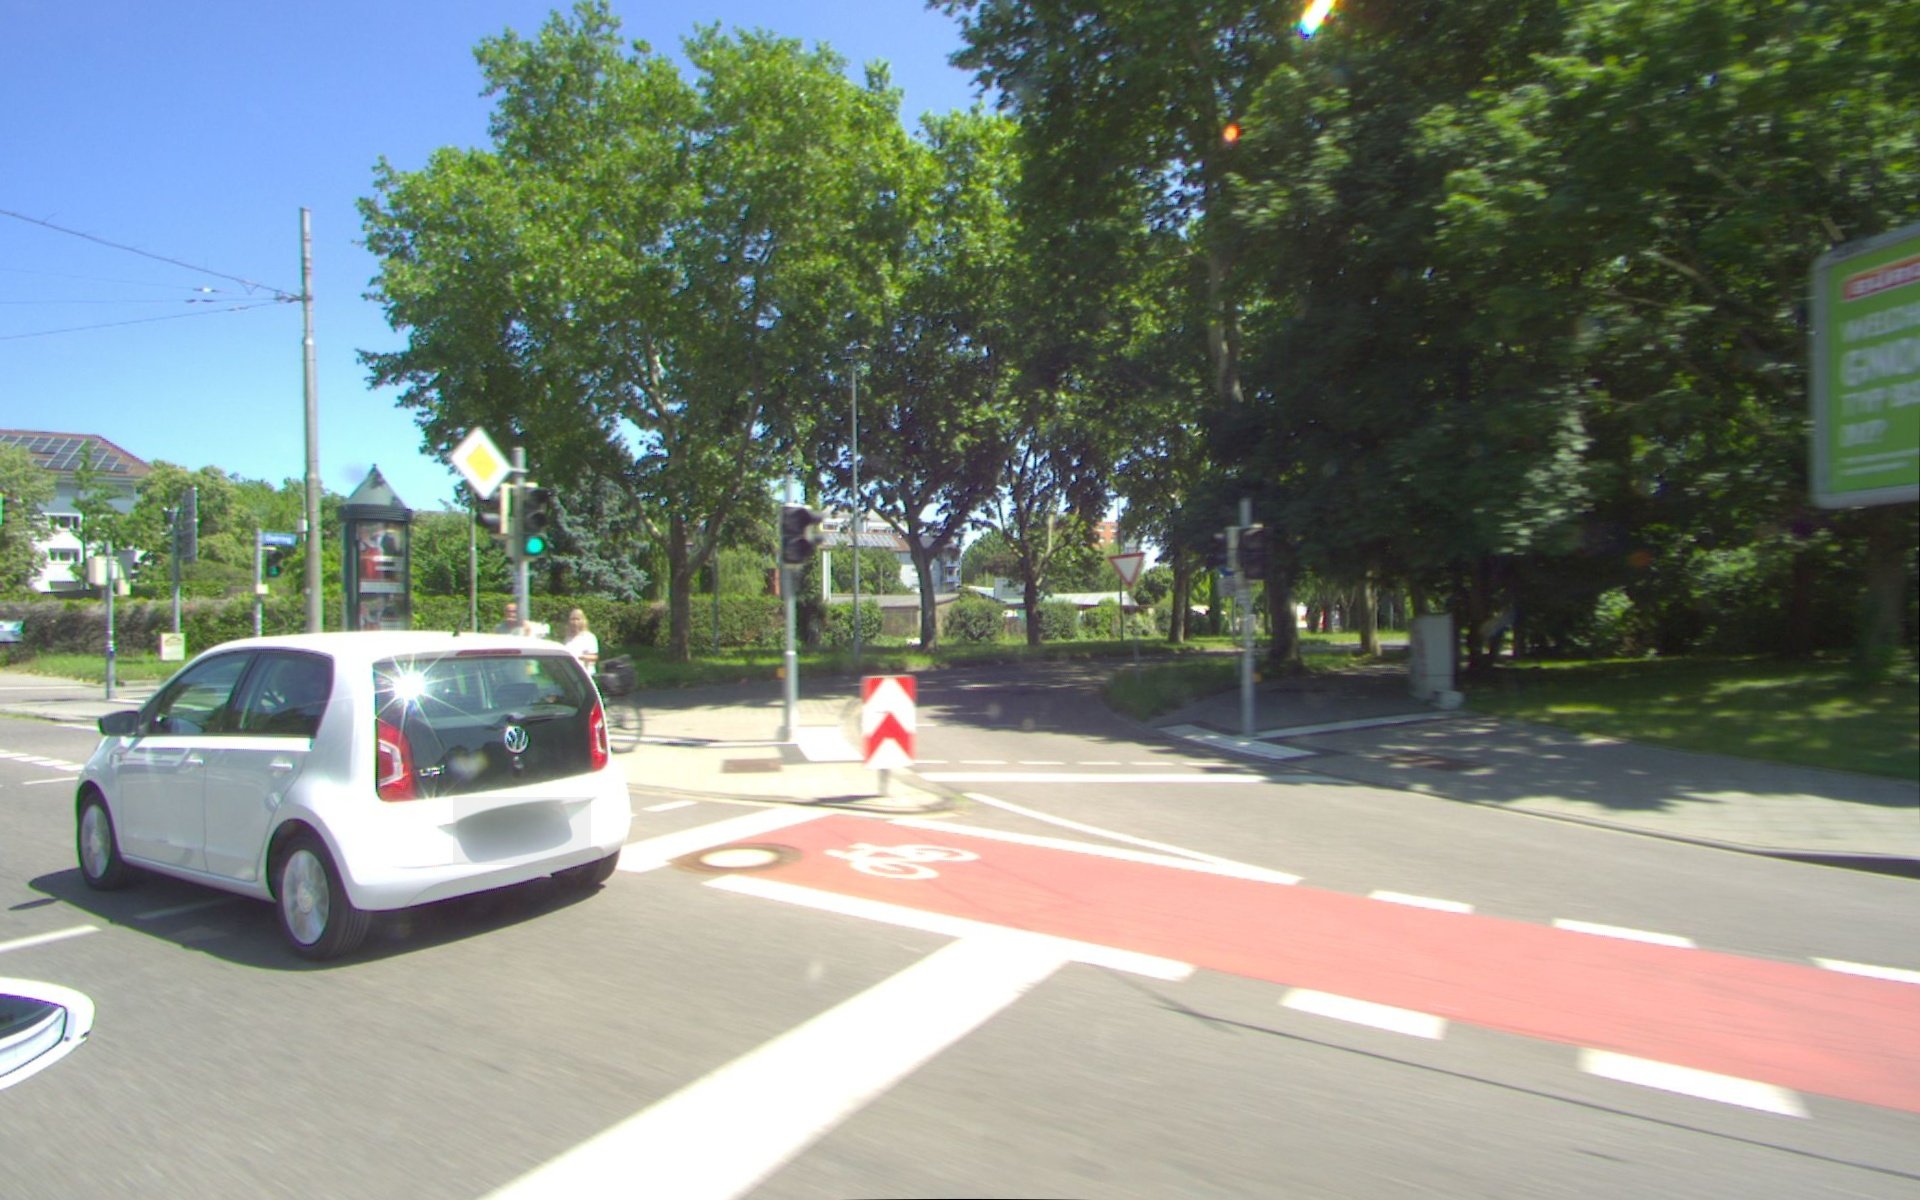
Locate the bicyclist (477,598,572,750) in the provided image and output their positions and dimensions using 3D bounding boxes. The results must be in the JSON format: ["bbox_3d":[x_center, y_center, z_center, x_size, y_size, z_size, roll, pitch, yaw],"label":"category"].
[{"bbox_3d":[-5.468,0.903,12.568,0.964,1.811,0.722,-1,-1,36],"label":"bicyclist"}]

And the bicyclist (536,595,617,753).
[{"bbox_3d":[-4.582,0.871,11.974,0.758,1.810,0.574,-1,-2,39],"label":"bicyclist"}]

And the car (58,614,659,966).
[{"bbox_3d":[-3.542,0.844,5.795,3.386,1.466,1.607,0,-2,32],"label":"car"}]

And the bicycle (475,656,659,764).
[{"bbox_3d":[-4.633,1.254,11.909,0.884,1.139,1.859,-1,-2,39],"label":"bicycle"}]

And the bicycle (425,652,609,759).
[{"bbox_3d":[-5.505,1.263,12.546,0.883,1.174,1.944,-1,-2,36],"label":"bicycle"}]
